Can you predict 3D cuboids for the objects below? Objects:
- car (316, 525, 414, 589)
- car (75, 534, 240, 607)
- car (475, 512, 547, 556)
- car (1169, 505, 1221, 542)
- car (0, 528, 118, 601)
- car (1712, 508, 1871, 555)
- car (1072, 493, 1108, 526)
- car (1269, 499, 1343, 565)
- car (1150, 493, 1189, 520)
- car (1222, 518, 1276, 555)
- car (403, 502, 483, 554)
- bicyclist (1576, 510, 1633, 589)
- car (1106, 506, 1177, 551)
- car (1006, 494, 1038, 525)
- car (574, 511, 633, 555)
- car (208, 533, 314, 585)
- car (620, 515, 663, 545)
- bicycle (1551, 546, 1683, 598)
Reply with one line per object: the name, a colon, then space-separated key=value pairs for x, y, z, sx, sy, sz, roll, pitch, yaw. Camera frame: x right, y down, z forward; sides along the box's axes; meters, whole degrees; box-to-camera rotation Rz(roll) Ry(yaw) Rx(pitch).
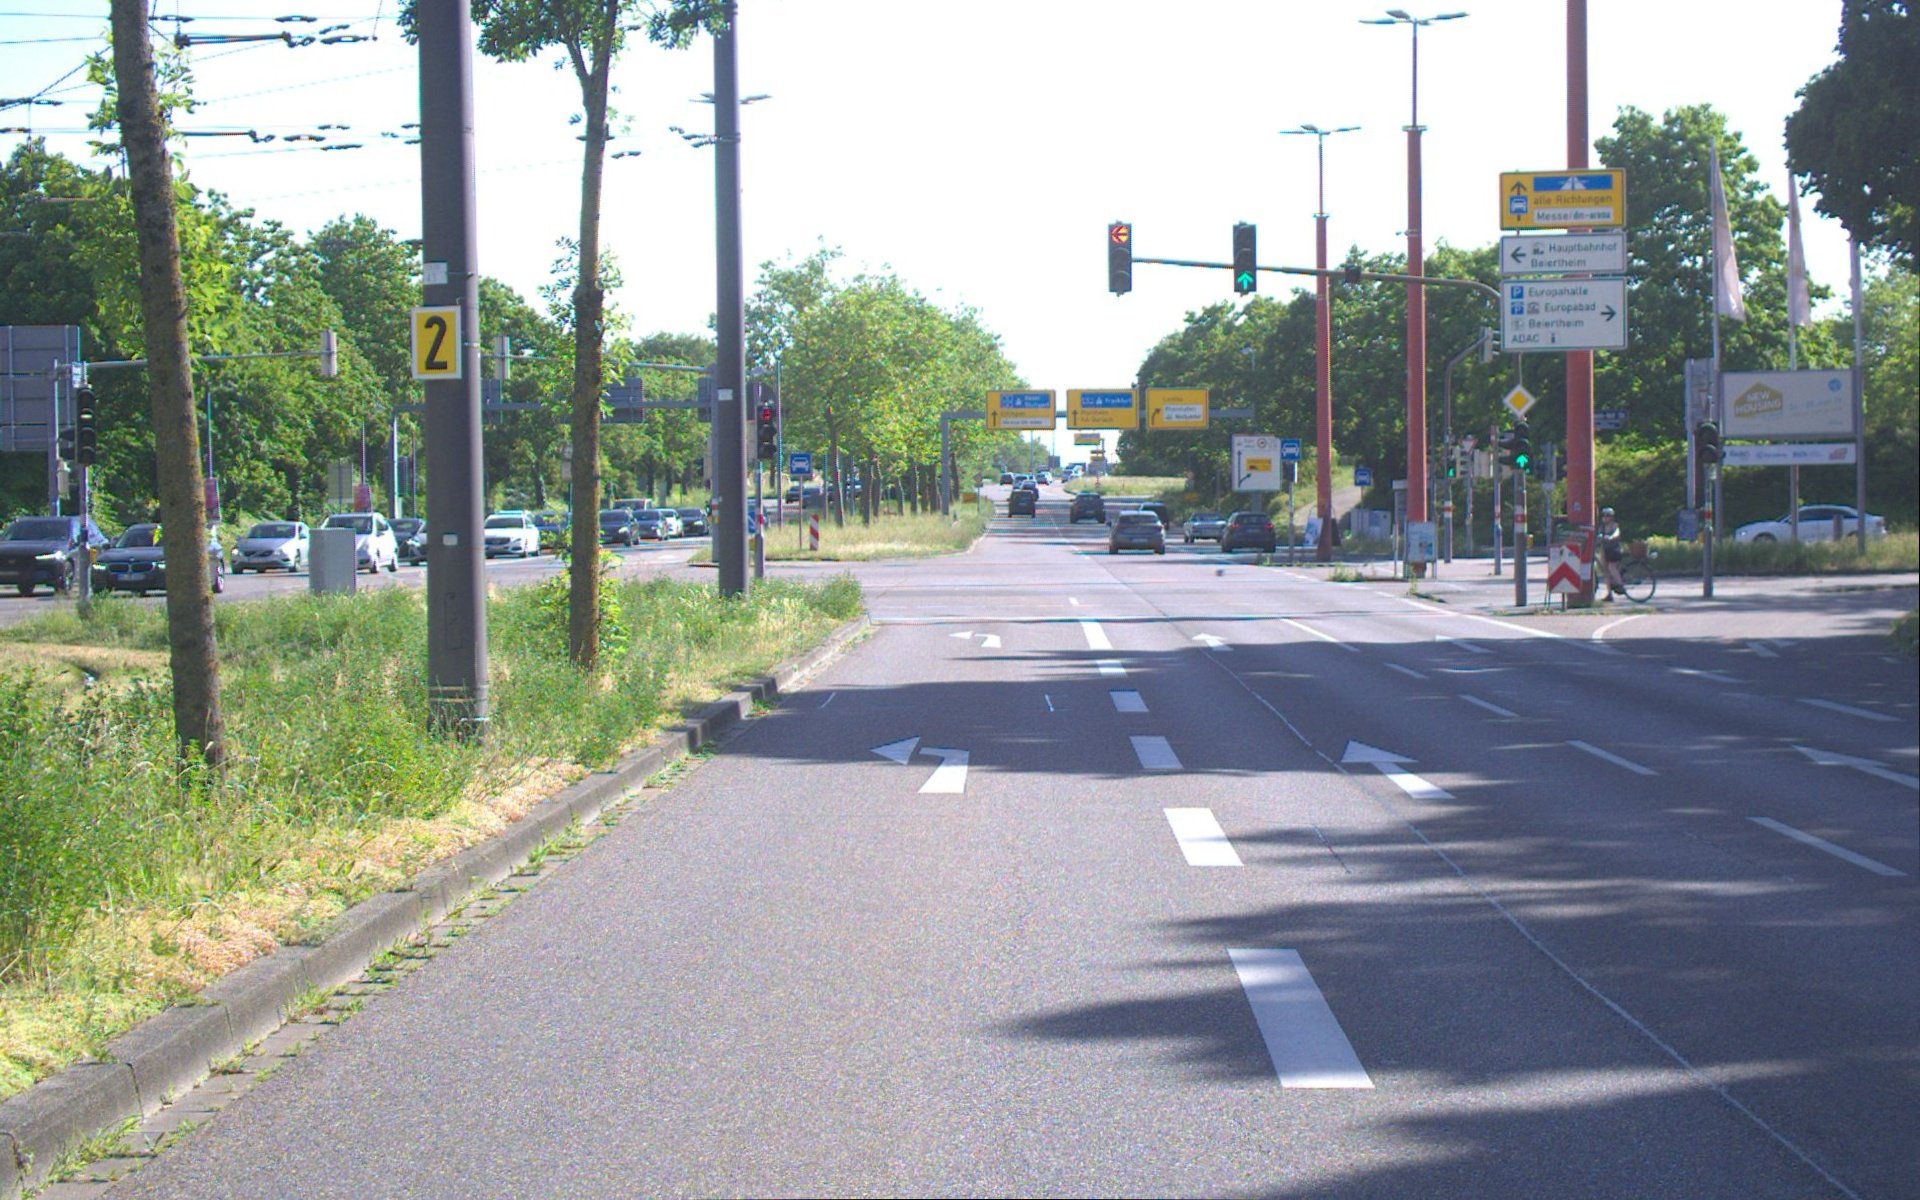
car: x=-15.484 y=-1.138 z=89.654 sx=1.763 sy=1.603 sz=3.758 roll=-1 pitch=1 yaw=2
car: x=-16.272 y=-0.628 z=69.964 sx=1.994 sy=1.404 sz=4.990 roll=1 pitch=1 yaw=3
car: x=-15.026 y=-2.207 z=115.203 sx=1.703 sy=1.418 sz=4.643 roll=-1 pitch=1 yaw=1
car: x=10.065 y=-3.285 z=147.412 sx=1.993 sy=1.535 sz=4.000 roll=1 pitch=1 yaw=1
car: x=-19.535 y=-0.786 z=73.062 sx=1.993 sy=1.476 sz=4.631 roll=1 pitch=1 yaw=2
car: x=24.388 y=-2.011 z=100.974 sx=4.379 sy=1.366 sz=2.060 roll=0 pitch=1 yaw=10
car: x=8.035 y=-5.556 z=212.223 sx=2.154 sy=2.007 sz=4.000 roll=0 pitch=1 yaw=1
car: x=10.063 y=-1.980 z=99.787 sx=1.994 sy=1.881 sz=3.999 roll=0 pitch=1 yaw=8
car: x=11.840 y=-5.296 z=194.507 sx=1.993 sy=1.535 sz=4.000 roll=0 pitch=1 yaw=1
car: x=10.495 y=-2.314 z=124.986 sx=1.738 sy=1.337 sz=3.081 roll=0 pitch=1 yaw=1
car: x=-15.582 y=-2.195 z=103.869 sx=1.589 sy=1.467 sz=4.183 roll=-2 pitch=2 yaw=2
bicyclist: x=11.055 y=-0.871 z=58.978 sx=0.739 sy=1.337 sz=0.708 roll=1 pitch=1 yaw=-9
car: x=6.093 y=-2.413 z=115.939 sx=1.993 sy=1.491 sz=4.001 roll=0 pitch=1 yaw=-3
car: x=4.133 y=-6.040 z=230.554 sx=1.993 sy=2.007 sz=4.000 roll=1 pitch=1 yaw=-1
car: x=-14.110 y=-2.645 z=136.254 sx=1.800 sy=1.701 sz=4.060 roll=-1 pitch=1 yaw=1
car: x=-19.650 y=-1.171 z=96.814 sx=1.993 sy=1.369 sz=4.400 roll=1 pitch=1 yaw=1
car: x=-14.561 y=-3.205 z=157.223 sx=1.548 sy=1.372 sz=4.263 roll=0 pitch=1 yaw=0
bicycle: x=11.285 y=-0.481 z=59.065 sx=2.161 sy=0.875 sz=0.560 roll=1 pitch=1 yaw=-10
